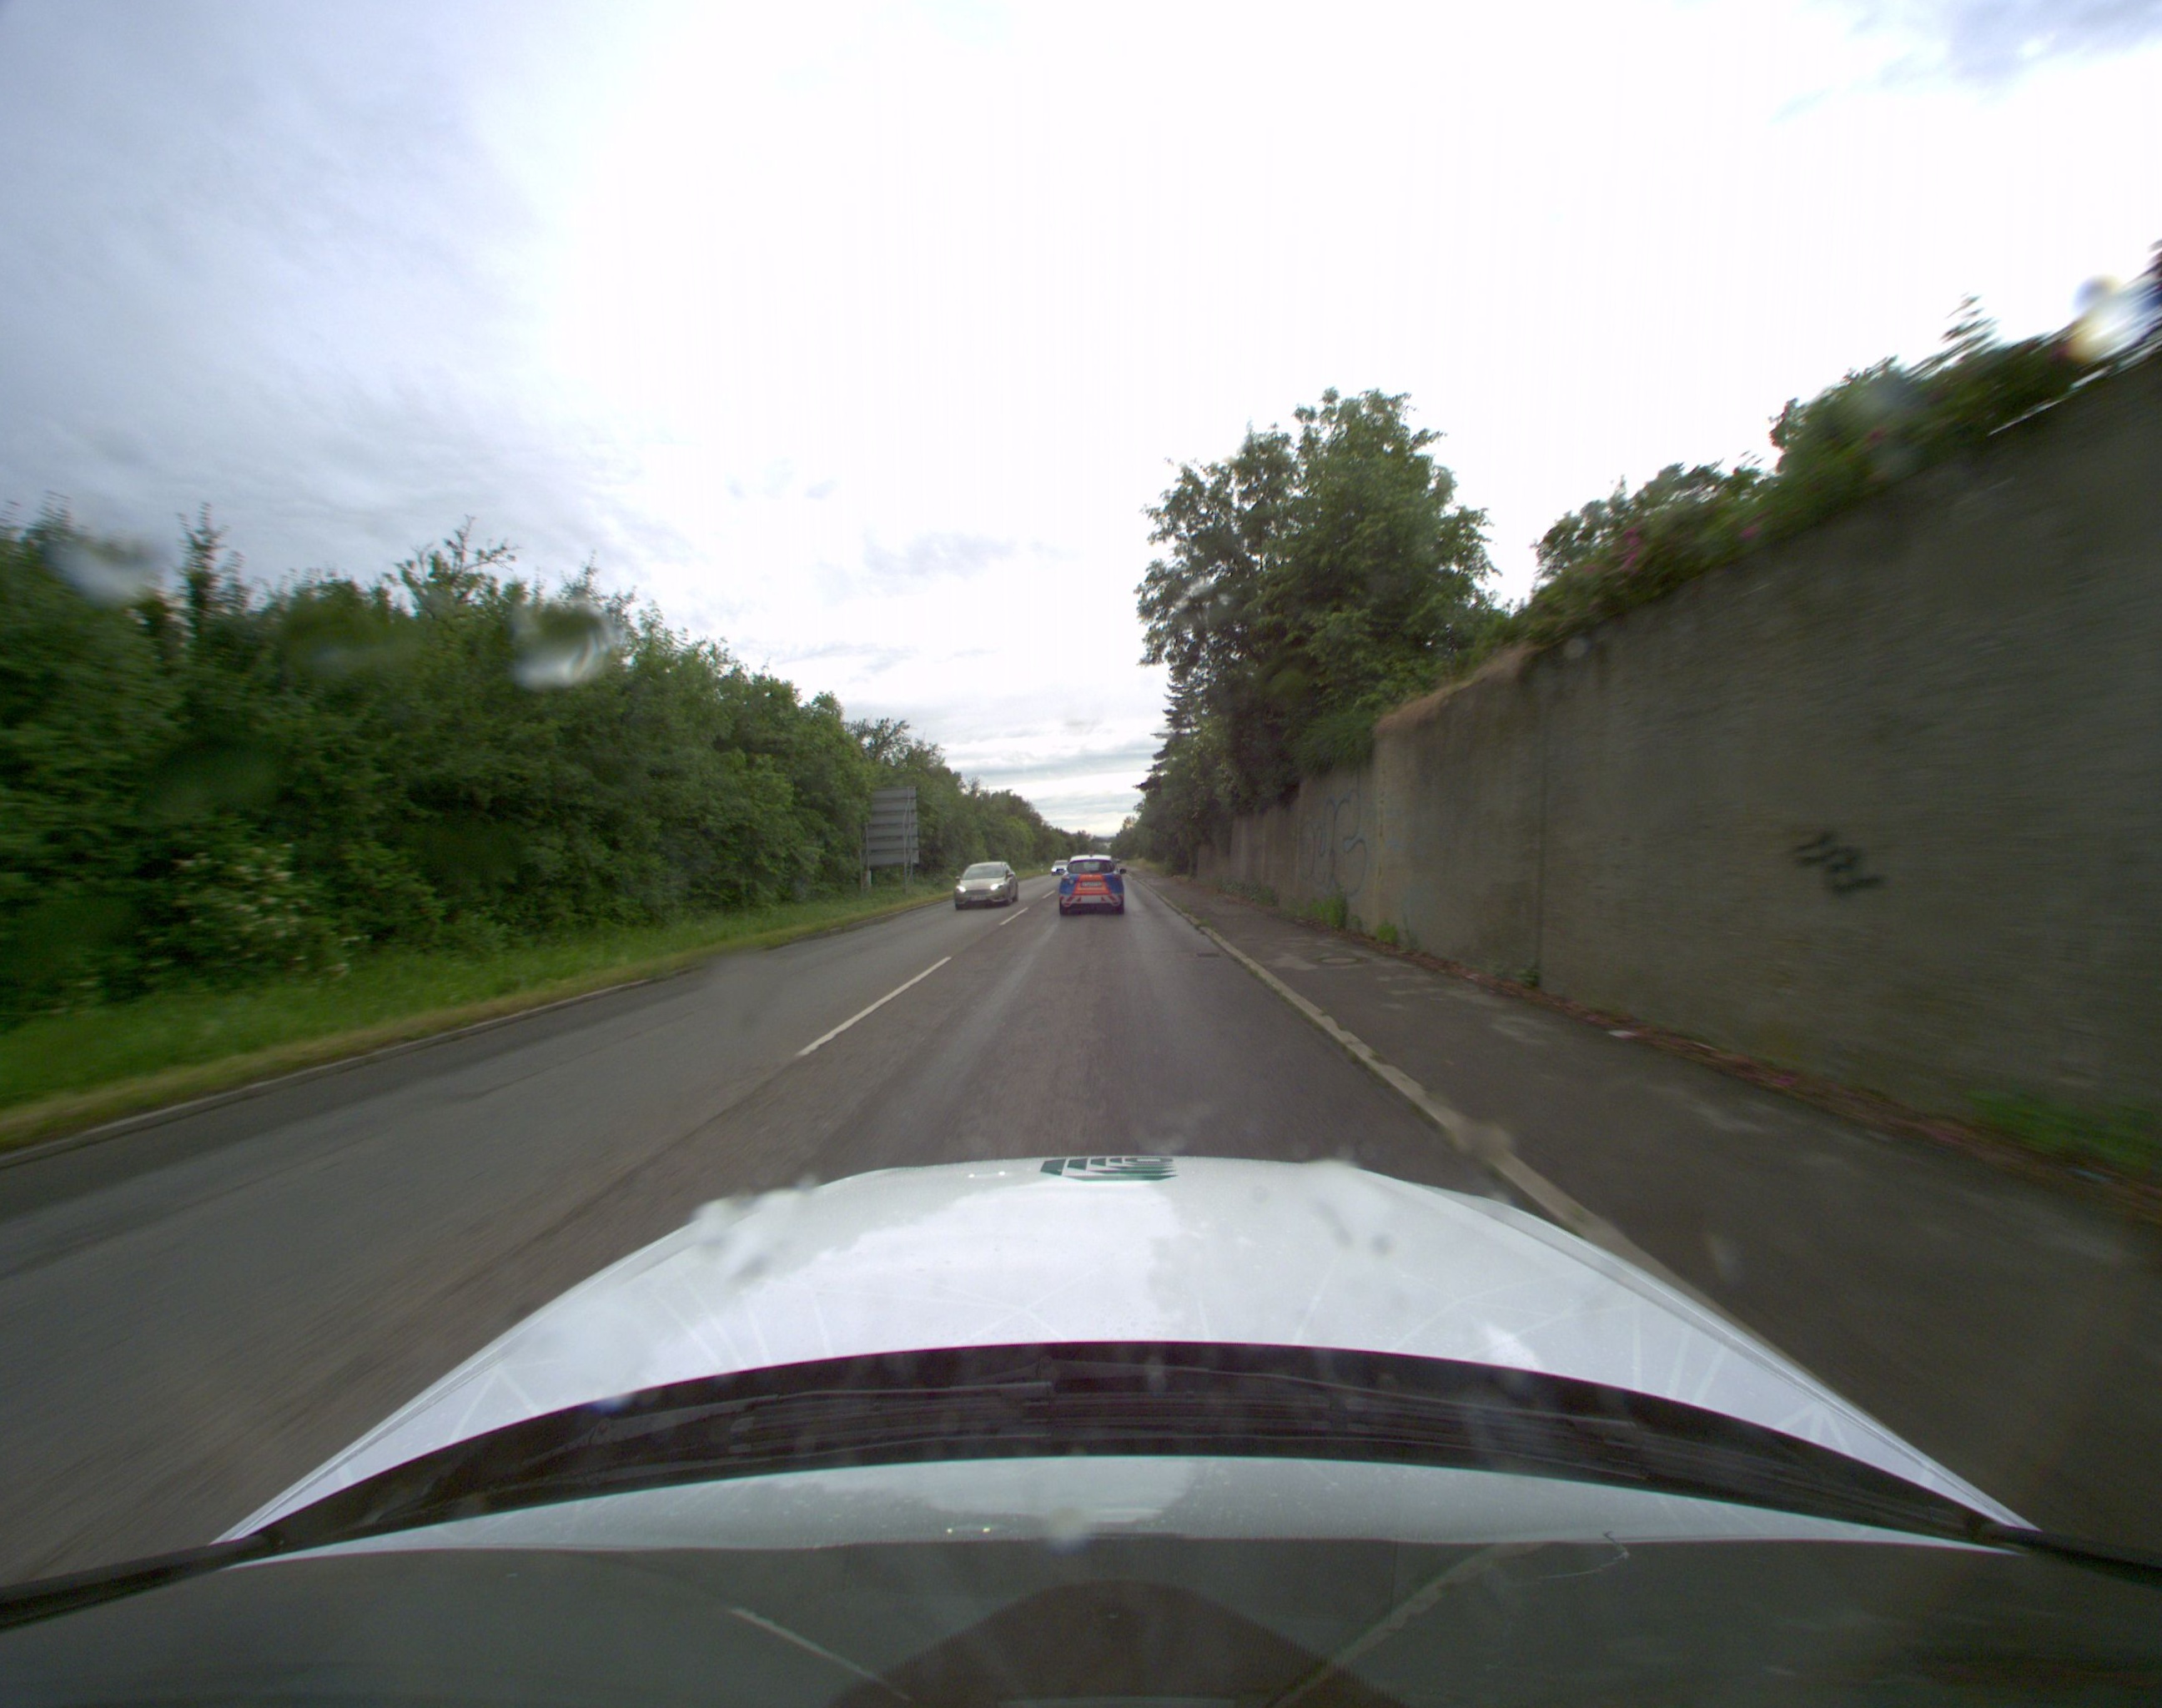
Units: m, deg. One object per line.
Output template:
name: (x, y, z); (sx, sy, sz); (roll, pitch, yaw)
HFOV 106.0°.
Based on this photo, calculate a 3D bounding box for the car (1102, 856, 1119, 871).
car: (3.439, 1.104, 95.717); (1.766, 1.625, 4.000); (-4, 0, 1)

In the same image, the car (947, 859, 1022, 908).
car: (-3.192, 0.951, 27.804); (1.818, 1.420, 4.322); (-3, 0, 2)

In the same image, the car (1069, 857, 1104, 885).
car: (0.315, 0.847, 41.868); (1.592, 1.287, 3.478); (-2, -1, 3)

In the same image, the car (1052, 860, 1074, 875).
car: (-1.698, 1.243, 78.907); (1.884, 1.354, 4.382); (-2, 0, 1)

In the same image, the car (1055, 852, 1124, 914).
car: (0.273, 0.724, 22.588); (1.745, 1.555, 3.794); (-1, 0, 2)
